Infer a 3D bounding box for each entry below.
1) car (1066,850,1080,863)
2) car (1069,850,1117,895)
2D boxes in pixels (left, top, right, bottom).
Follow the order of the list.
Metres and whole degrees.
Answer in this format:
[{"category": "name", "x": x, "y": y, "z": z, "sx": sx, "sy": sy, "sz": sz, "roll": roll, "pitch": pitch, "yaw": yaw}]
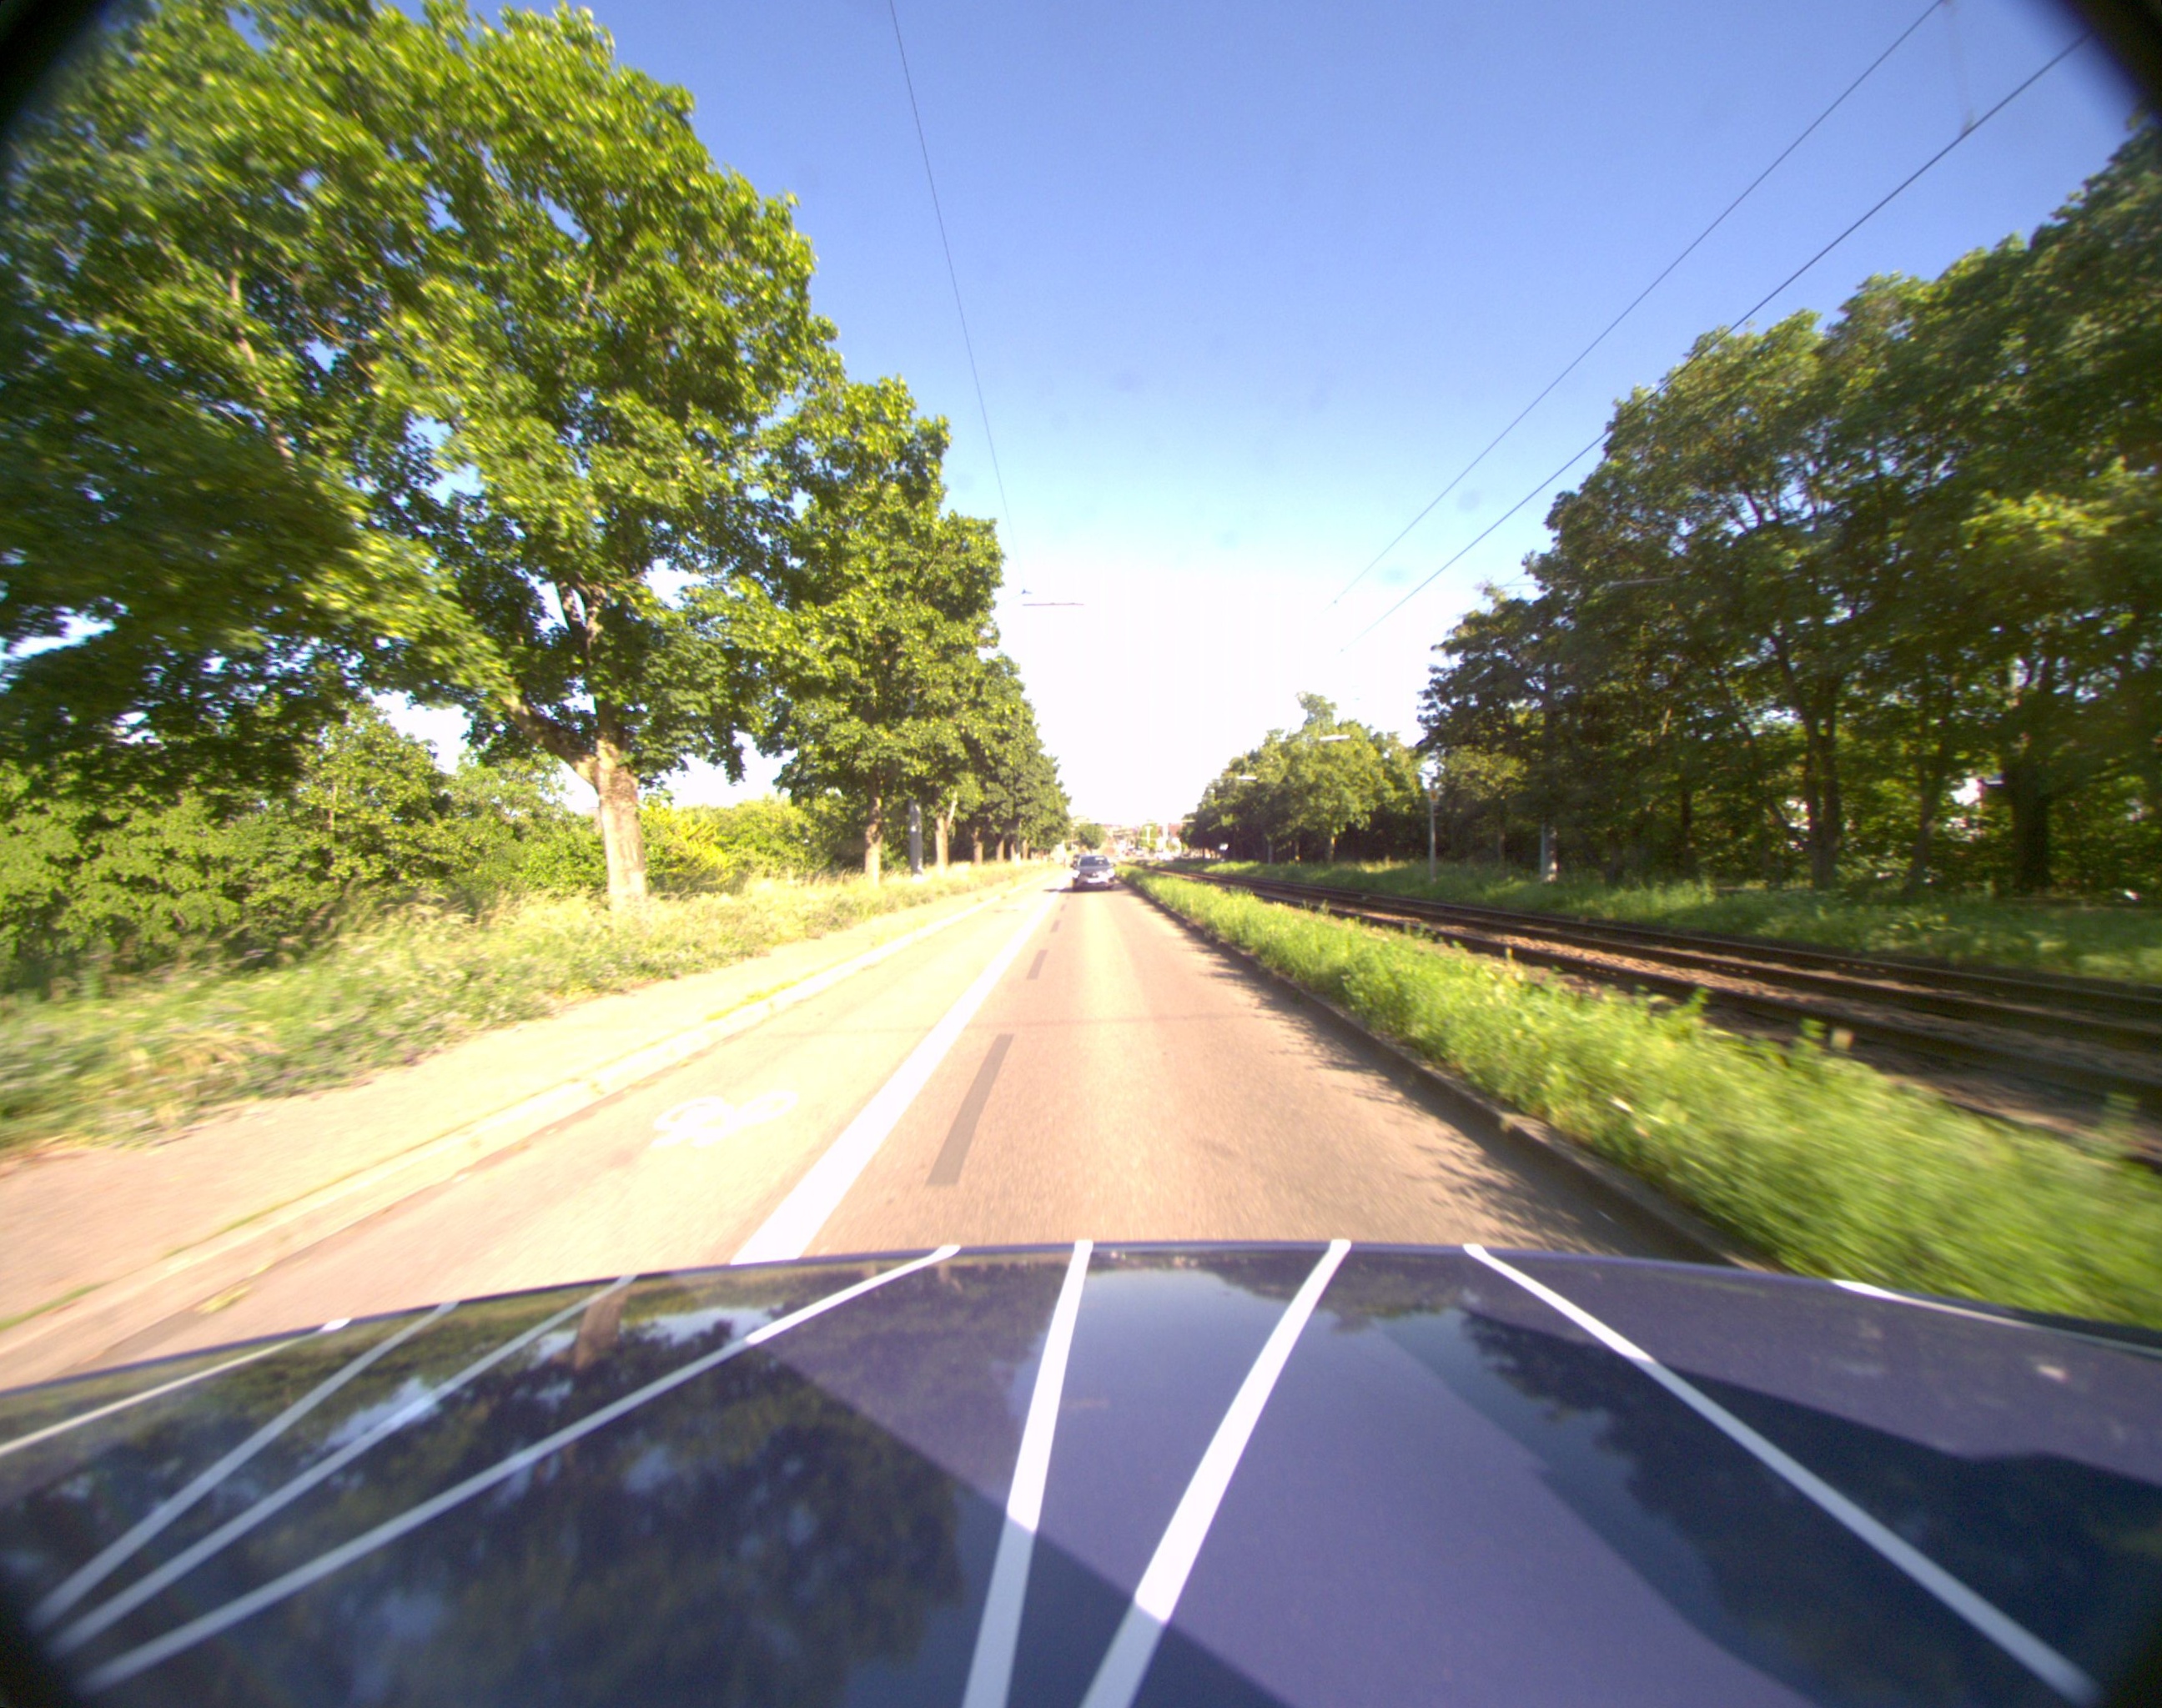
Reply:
[{"category": "car", "x": -1.080, "y": 0.345, "z": 106.189, "sx": 1.814, "sy": 1.625, "sz": 4.128, "roll": -3, "pitch": 1, "yaw": 1}, {"category": "car", "x": 0.526, "y": 0.728, "z": 32.136, "sx": 1.814, "sy": 1.625, "sz": 4.709, "roll": -2, "pitch": 1, "yaw": 1}]
